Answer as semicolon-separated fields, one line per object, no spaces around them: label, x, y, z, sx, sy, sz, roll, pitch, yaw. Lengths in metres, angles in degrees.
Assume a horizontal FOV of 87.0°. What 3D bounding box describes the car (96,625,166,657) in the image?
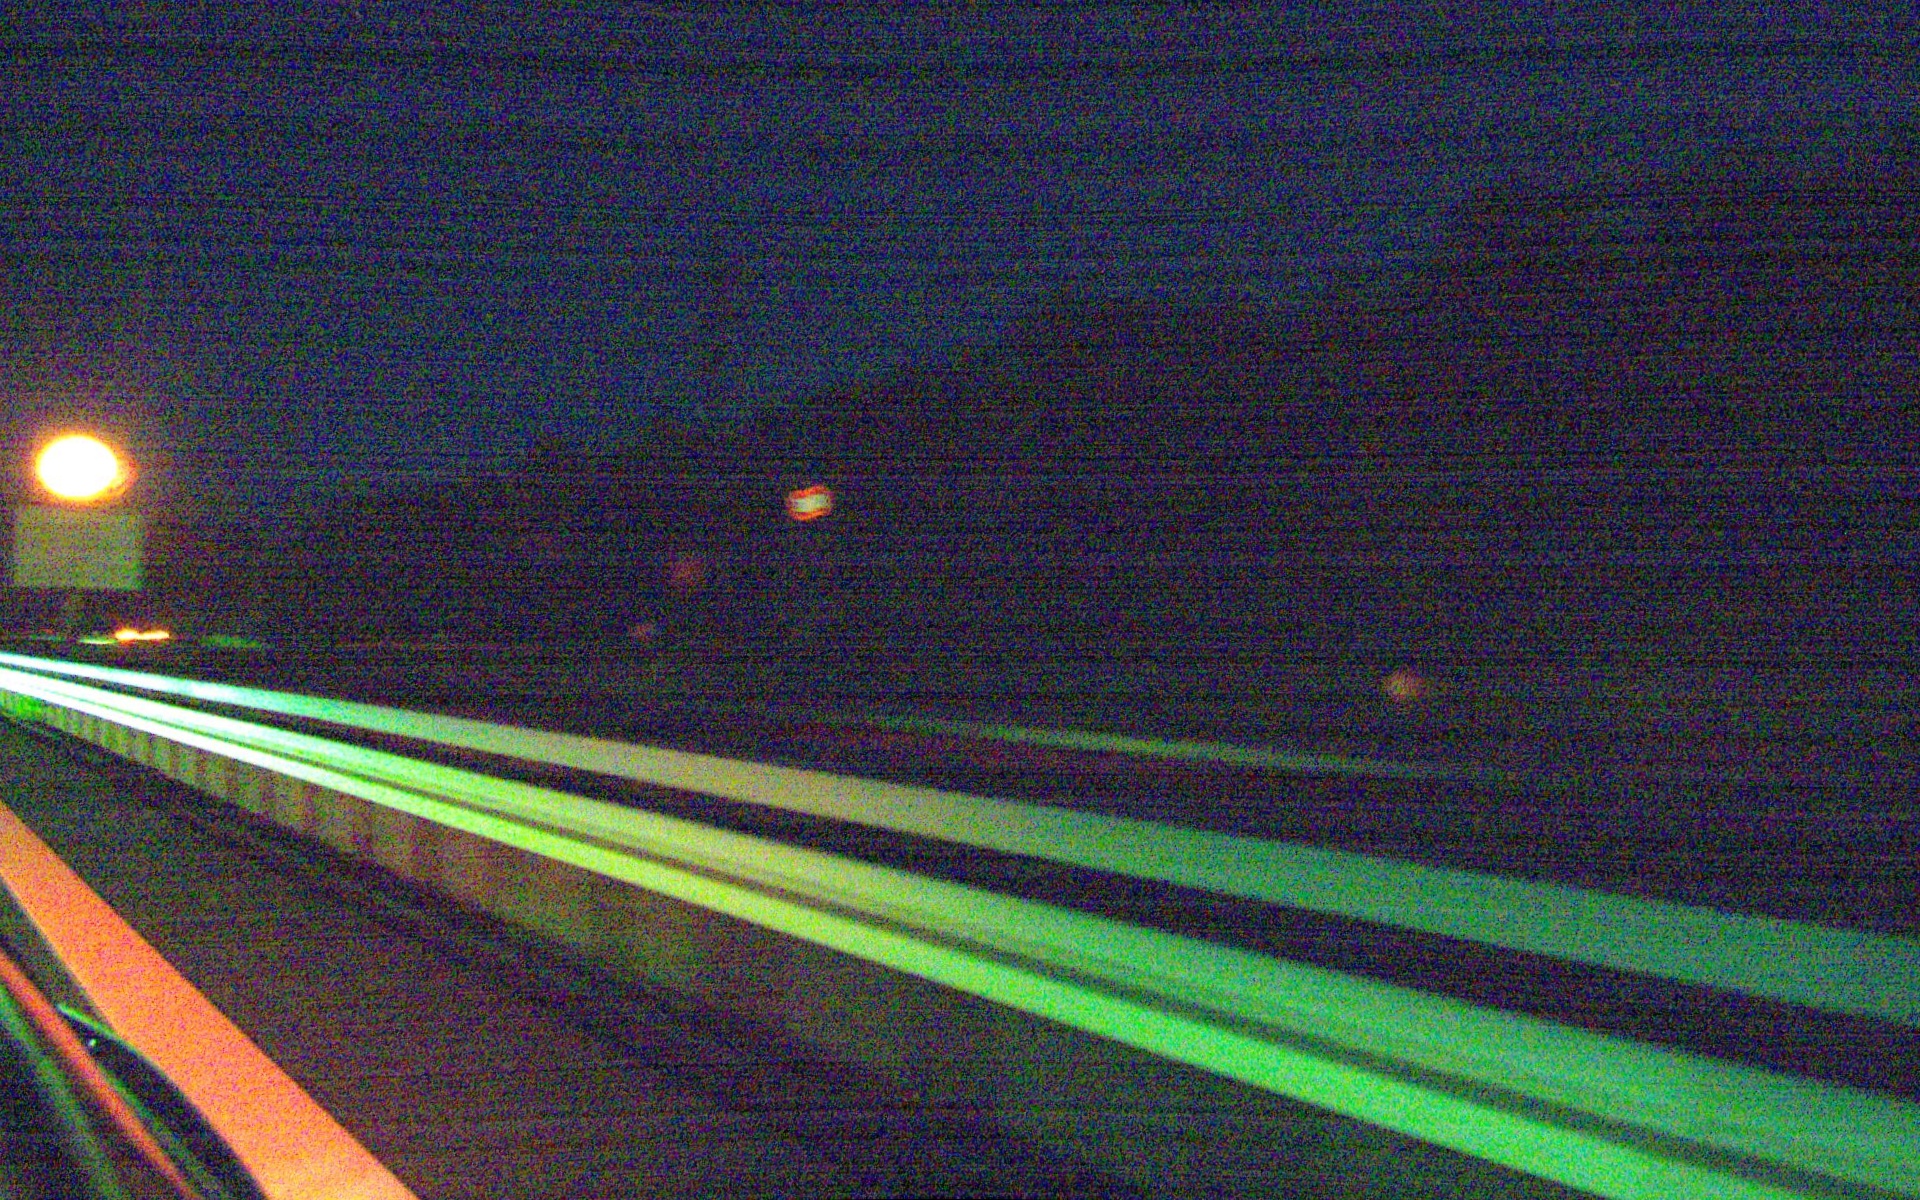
car;-43.958;2.145;53.621;5.001;1.563;1.973;-1;-5;41
